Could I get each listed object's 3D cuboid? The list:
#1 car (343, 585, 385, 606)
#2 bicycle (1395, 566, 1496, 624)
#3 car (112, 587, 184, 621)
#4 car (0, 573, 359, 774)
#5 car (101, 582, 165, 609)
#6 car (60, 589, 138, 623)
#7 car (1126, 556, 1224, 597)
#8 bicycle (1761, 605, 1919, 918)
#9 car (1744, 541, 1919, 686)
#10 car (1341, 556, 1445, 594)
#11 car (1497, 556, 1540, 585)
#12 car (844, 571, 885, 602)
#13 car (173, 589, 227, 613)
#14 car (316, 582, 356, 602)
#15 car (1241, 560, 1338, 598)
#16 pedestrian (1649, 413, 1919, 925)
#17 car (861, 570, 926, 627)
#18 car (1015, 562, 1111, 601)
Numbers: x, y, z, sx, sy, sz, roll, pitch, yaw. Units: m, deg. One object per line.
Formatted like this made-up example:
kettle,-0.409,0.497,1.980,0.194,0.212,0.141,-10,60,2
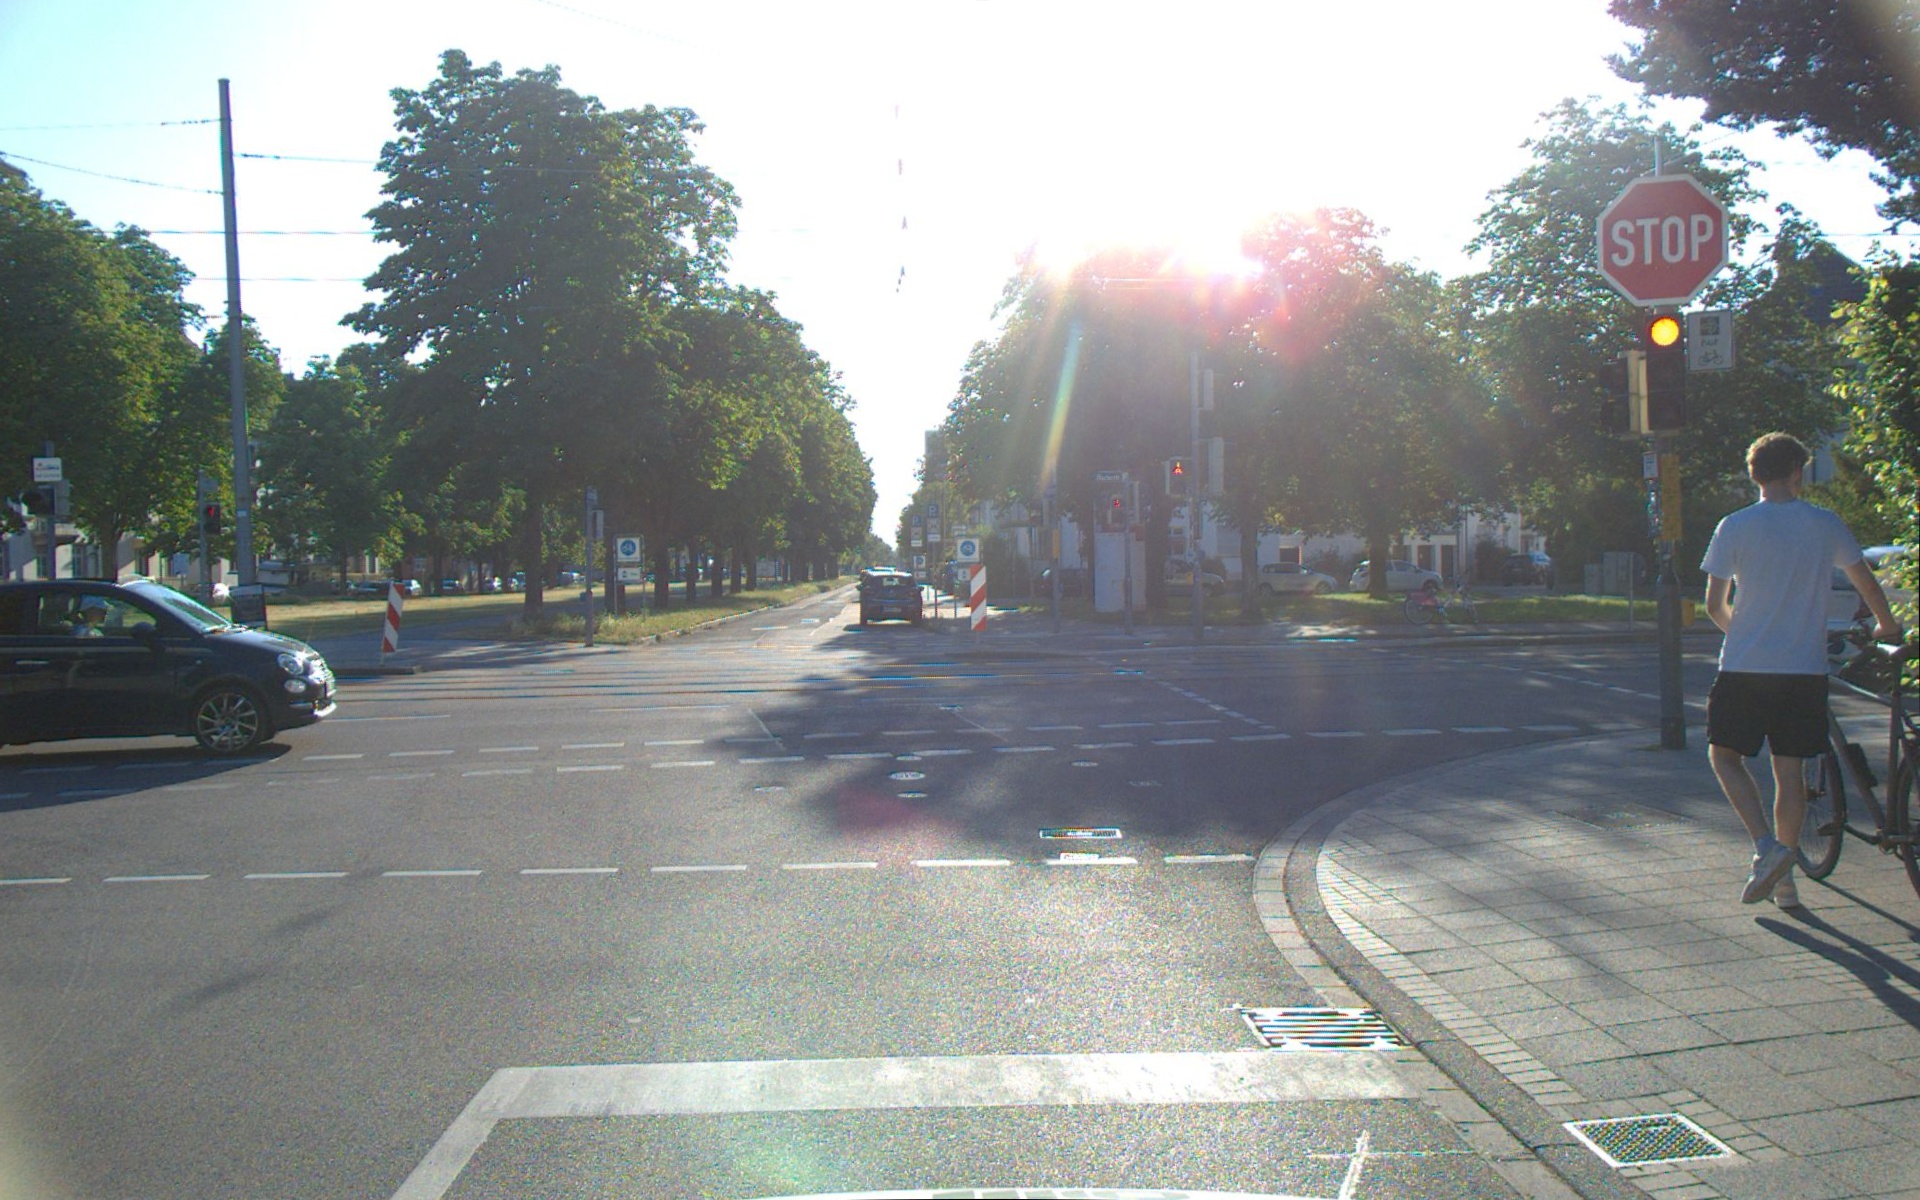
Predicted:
car,-42.222,-0.320,117.301,1.703,1.452,3.791,-1,1,-2
bicycle,10.129,-0.108,34.535,1.914,1.152,0.620,-1,1,0
car,-40.249,0.178,82.066,1.703,1.451,3.792,-1,2,-2
car,-7.192,0.593,14.255,3.533,1.523,1.607,-2,2,-13
car,-46.433,-0.254,92.933,1.703,1.452,3.791,-1,1,-2
car,-40.018,0.248,76.977,1.703,1.452,3.791,-1,1,-2
car,8.686,-0.980,66.979,3.704,1.552,1.743,-1,2,-3
bicycle,3.853,0.619,6.593,0.477,1.116,1.792,-4,1,3
car,10.943,0.094,18.545,3.622,1.514,1.736,-1,2,-13
car,17.737,-1.027,67.825,3.772,1.452,1.595,-1,1,-7
car,28.987,-1.547,85.852,1.631,1.442,3.539,-1,1,27
car,-4.560,-0.682,79.218,1.808,1.418,3.828,0,1,-2
car,-47.319,0.044,103.017,1.703,1.452,3.791,-1,1,-2
car,-47.967,-0.610,127.122,1.703,1.452,3.791,-1,1,-2
car,13.330,-0.864,66.989,3.593,1.452,1.530,-1,1,-7
pedestrian,3.361,0.254,6.717,0.656,1.897,0.882,-4,1,2
car,-1.796,-0.067,45.394,1.607,1.476,3.307,-1,1,0
car,4.112,-0.759,66.587,3.704,1.451,1.743,-1,2,-3
